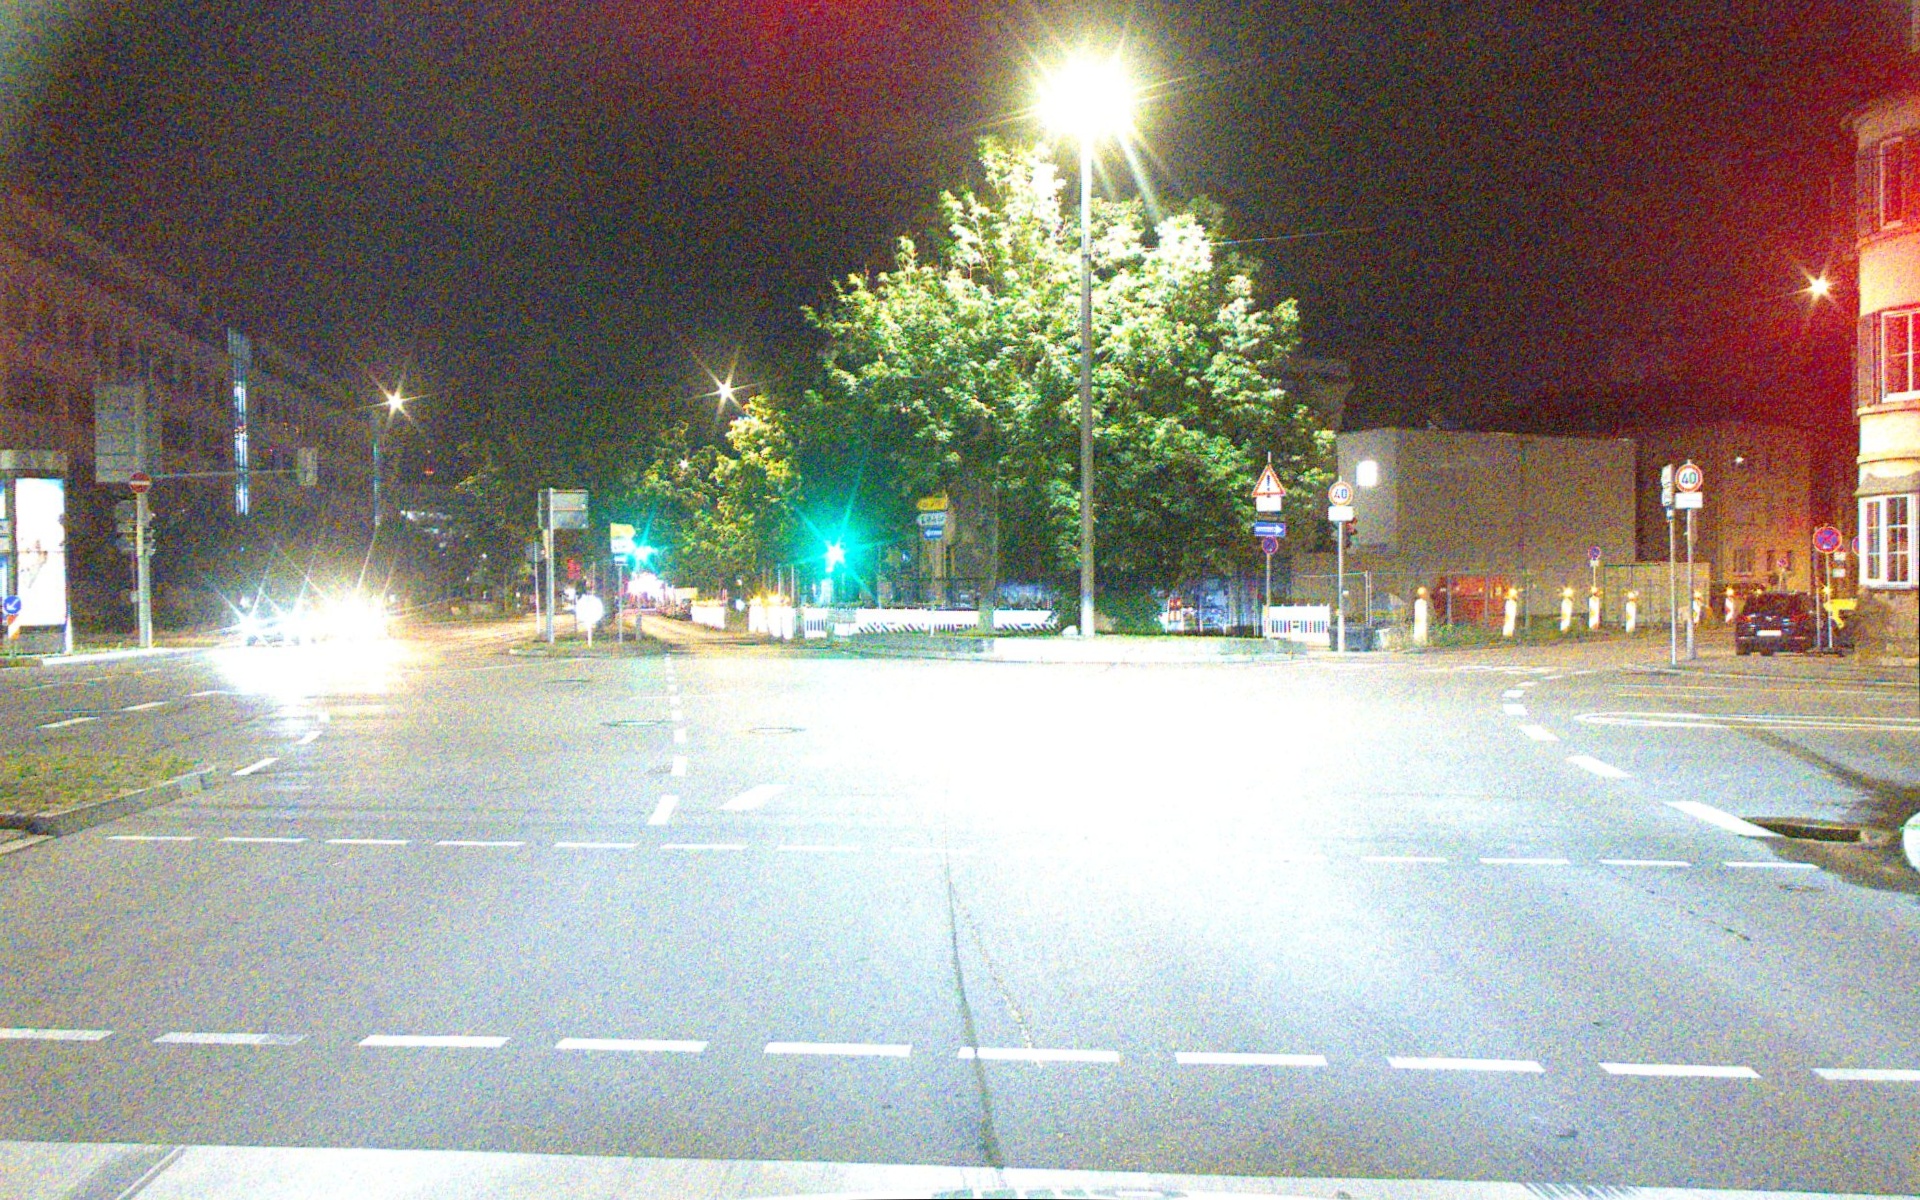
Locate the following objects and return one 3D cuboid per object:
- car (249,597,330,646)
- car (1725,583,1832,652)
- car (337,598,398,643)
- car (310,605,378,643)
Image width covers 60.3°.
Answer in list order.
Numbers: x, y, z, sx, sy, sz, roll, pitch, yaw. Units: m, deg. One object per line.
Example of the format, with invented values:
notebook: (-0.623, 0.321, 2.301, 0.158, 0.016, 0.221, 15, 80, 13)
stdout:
car: (-21.877, 0.687, 54.089, 1.586, 1.541, 3.991, 0, -1, -9)
car: (20.489, 0.429, 41.325, 1.700, 1.640, 3.607, -1, -1, 38)
car: (-23.956, 0.820, 66.941, 1.726, 1.758, 3.539, 0, -1, -10)
car: (-22.778, 0.872, 61.269, 1.726, 1.345, 3.539, 0, -1, -10)
